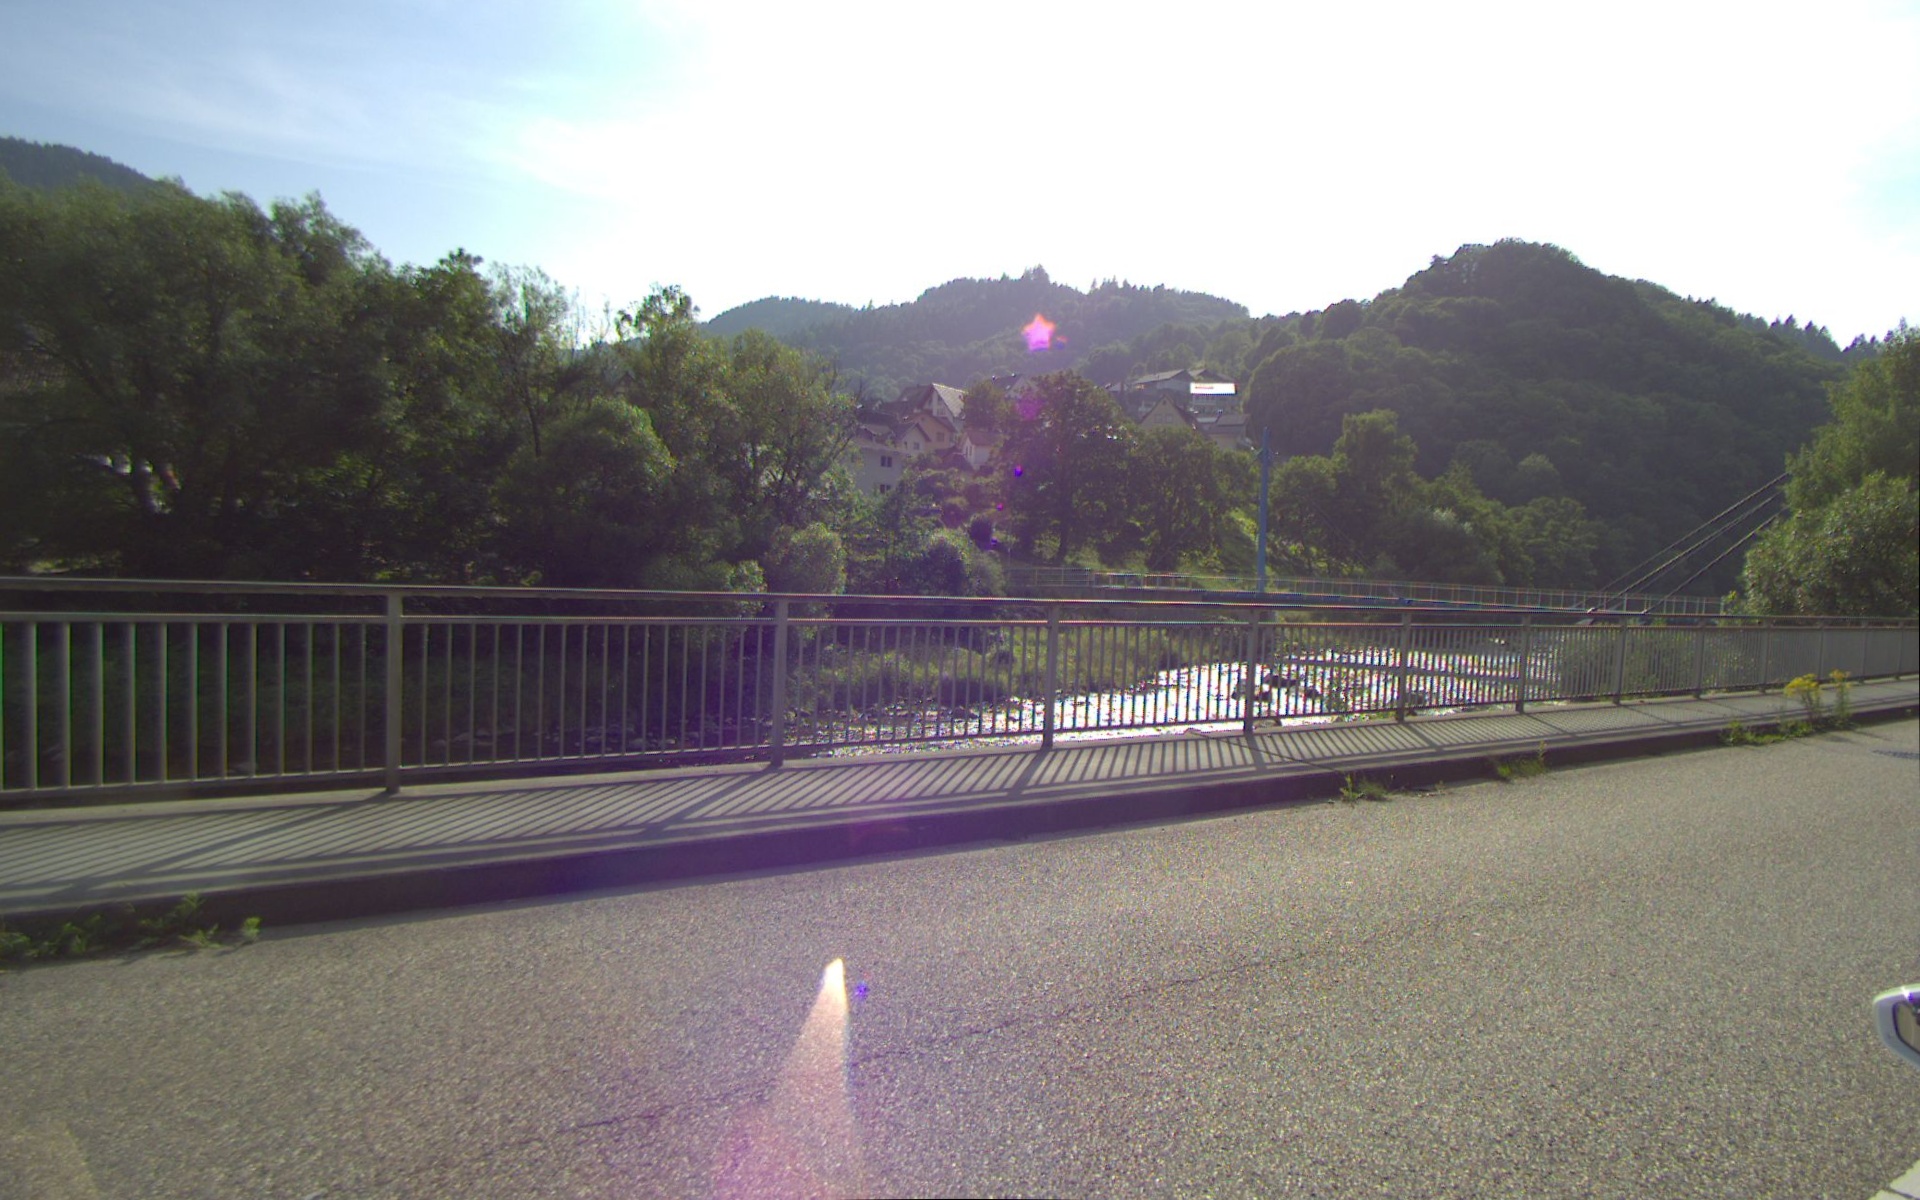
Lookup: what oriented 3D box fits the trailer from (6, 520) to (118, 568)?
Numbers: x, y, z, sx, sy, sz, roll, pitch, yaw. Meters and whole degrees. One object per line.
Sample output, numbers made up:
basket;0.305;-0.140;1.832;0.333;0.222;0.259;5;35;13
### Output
trailer;-43.622;-2.670;48.874;3.971;2.040;1.975;1;0;-43
